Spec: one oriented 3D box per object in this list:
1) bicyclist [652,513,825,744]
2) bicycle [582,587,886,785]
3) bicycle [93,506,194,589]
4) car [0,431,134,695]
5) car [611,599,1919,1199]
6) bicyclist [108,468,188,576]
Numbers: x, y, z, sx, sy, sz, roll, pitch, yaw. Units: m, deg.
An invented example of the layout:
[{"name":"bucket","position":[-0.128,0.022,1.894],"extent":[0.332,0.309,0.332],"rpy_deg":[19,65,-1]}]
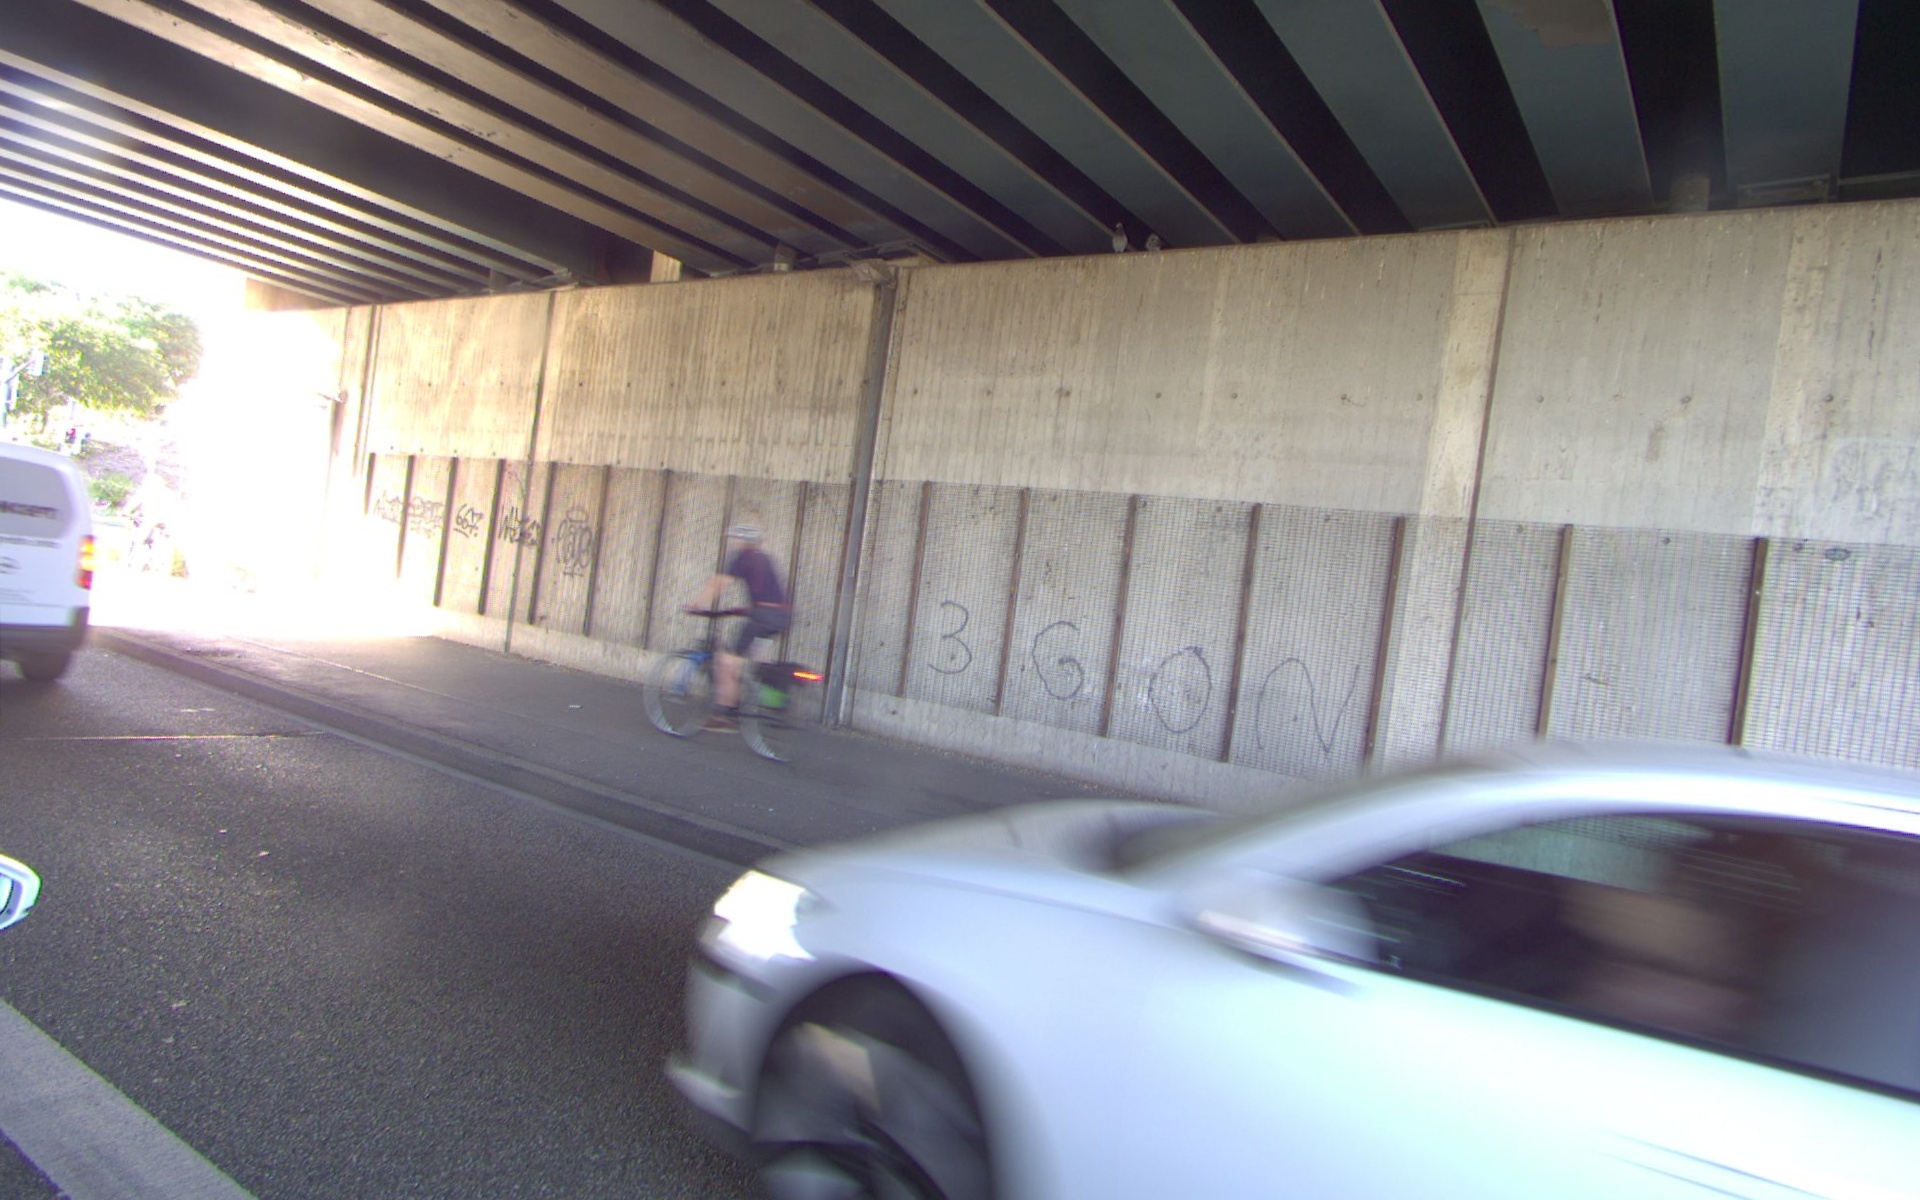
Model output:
[{"name":"bicyclist","position":[-1.754,0.230,8.000],"extent":[0.871,1.674,0.748],"rpy_deg":[7,-1,31]},{"name":"bicycle","position":[-1.859,0.619,8.058],"extent":[2.428,1.161,0.766],"rpy_deg":[7,2,31]},{"name":"bicycle","position":[-12.969,-0.840,15.969],"extent":[1.577,1.126,0.682],"rpy_deg":[6,0,31]},{"name":"car","position":[-8.653,-0.514,7.974],"extent":[4.228,1.856,1.816],"rpy_deg":[8,0,31]},{"name":"car","position":[1.607,1.053,2.150],"extent":[4.585,1.473,1.750],"rpy_deg":[7,-2,30]},{"name":"bicyclist","position":[-12.837,-1.224,15.908],"extent":[0.723,1.581,0.670],"rpy_deg":[7,0,31]}]
